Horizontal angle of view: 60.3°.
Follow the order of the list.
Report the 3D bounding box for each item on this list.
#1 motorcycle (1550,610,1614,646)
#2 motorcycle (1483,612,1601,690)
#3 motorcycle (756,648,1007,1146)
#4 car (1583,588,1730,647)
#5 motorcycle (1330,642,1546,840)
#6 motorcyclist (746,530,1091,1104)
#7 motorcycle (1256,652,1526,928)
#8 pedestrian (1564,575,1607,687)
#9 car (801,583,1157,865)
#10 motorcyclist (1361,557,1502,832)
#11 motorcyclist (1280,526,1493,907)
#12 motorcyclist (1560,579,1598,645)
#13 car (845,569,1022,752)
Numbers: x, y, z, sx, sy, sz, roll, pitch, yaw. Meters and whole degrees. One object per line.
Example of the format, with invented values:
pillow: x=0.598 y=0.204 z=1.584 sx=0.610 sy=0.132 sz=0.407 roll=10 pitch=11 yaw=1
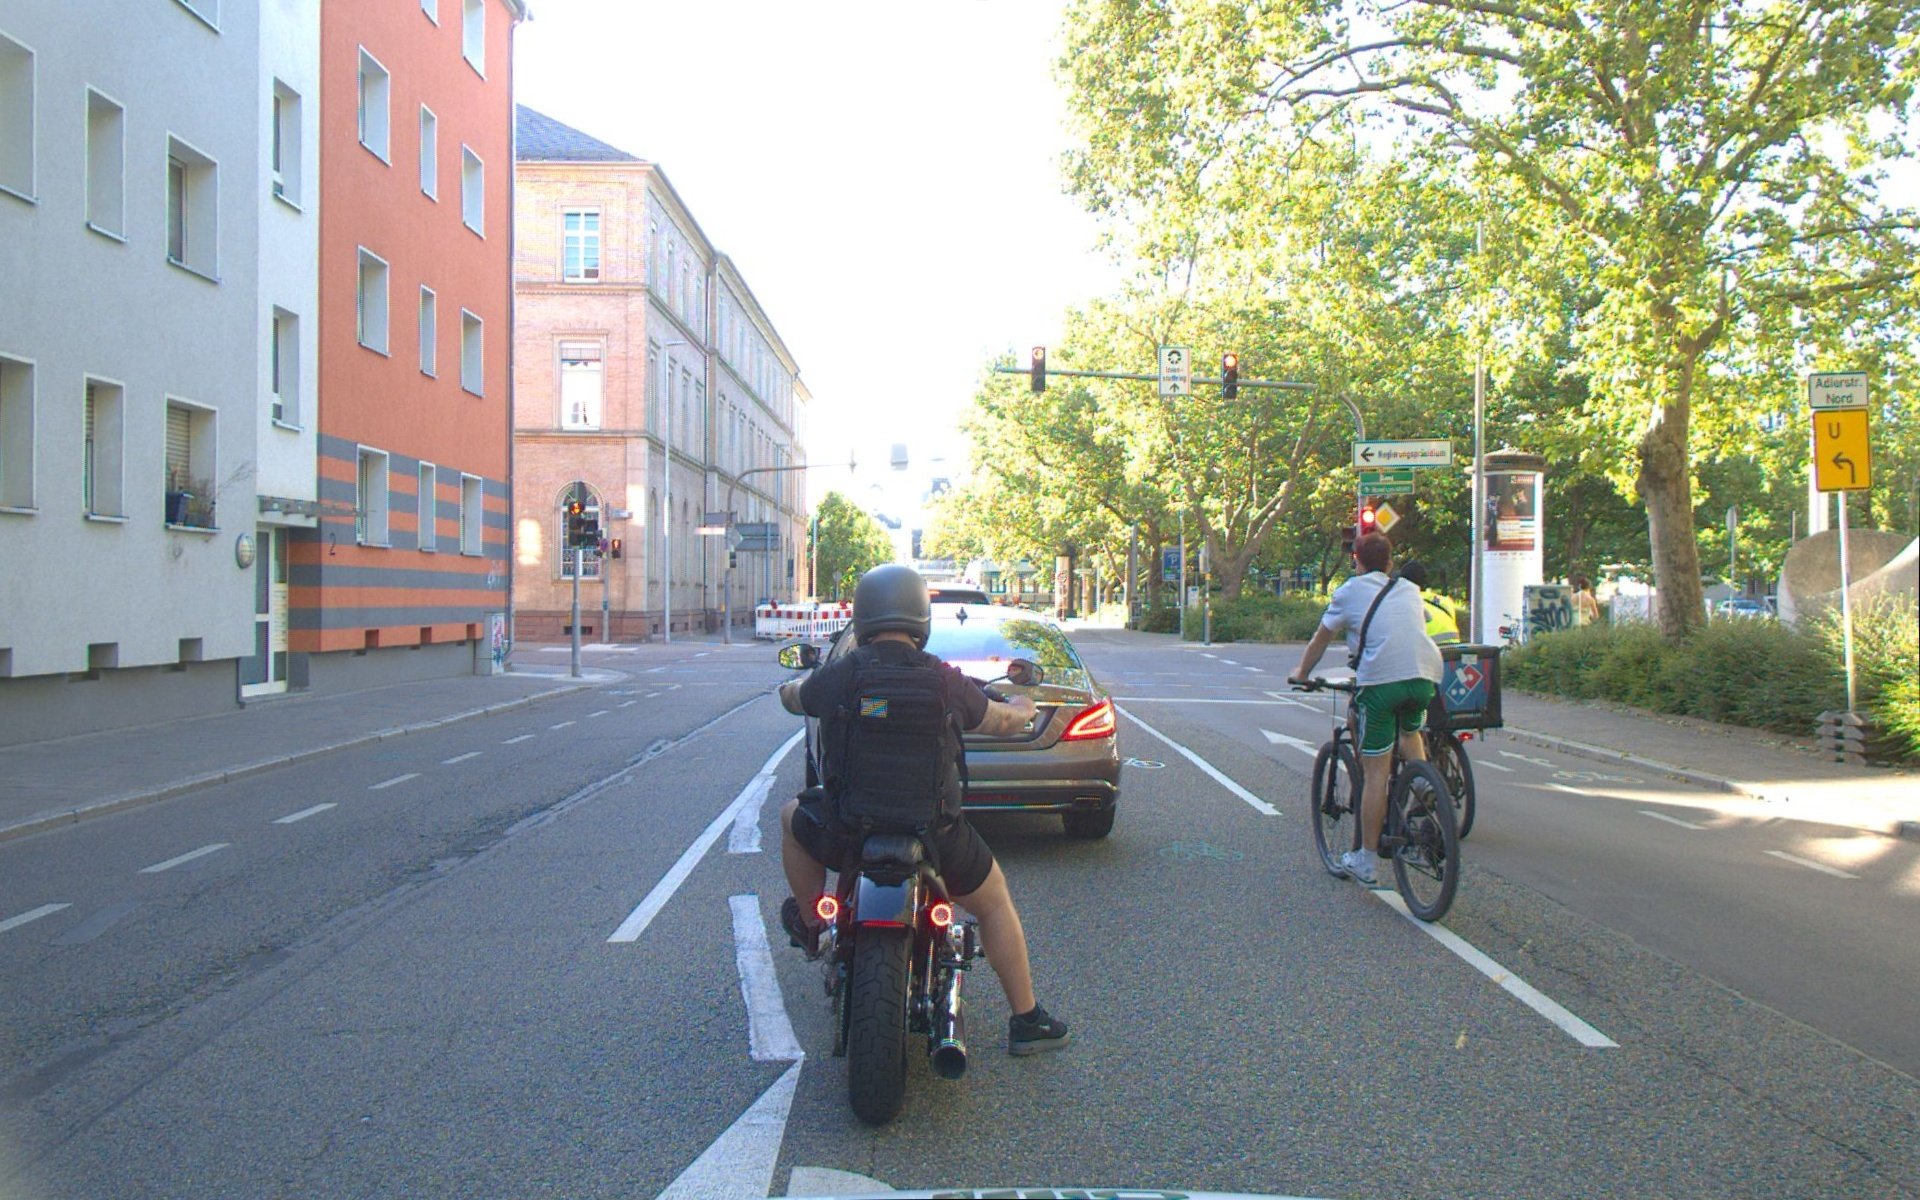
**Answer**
motorcycle: x=17.931 y=0.796 z=47.681 sx=1.683 sy=1.019 sz=0.416 roll=0 pitch=0 yaw=3
motorcycle: x=9.775 y=0.842 z=27.829 sx=1.743 sy=1.265 sz=0.723 roll=1 pitch=0 yaw=4
motorcycle: x=-0.222 y=0.820 z=5.423 sx=0.646 sy=1.261 sz=2.057 roll=1 pitch=0 yaw=-1
car: x=21.992 y=0.549 z=52.299 sx=3.907 sy=1.803 sz=1.737 roll=0 pitch=0 yaw=-3
motorcycle: x=3.180 y=0.894 z=11.251 sx=0.781 sy=1.151 sz=2.236 roll=1 pitch=0 yaw=-1
motorcyclist: x=-0.126 y=0.630 z=5.333 sx=0.970 sy=1.639 sz=1.120 roll=1 pitch=0 yaw=-1
motorcycle: x=2.130 y=0.894 z=8.474 sx=0.845 sy=1.189 sz=1.929 roll=1 pitch=0 yaw=-1
pedestrian: x=10.539 y=0.505 z=27.851 sx=0.634 sy=1.859 sz=0.667 roll=0 pitch=0 yaw=24
car: x=-0.088 y=0.685 z=11.133 sx=1.790 sy=1.512 sz=4.326 roll=1 pitch=0 yaw=-7
motorcyclist: x=3.155 y=0.614 z=11.126 sx=0.702 sy=1.773 sz=0.751 roll=1 pitch=-1 yaw=-1
motorcyclist: x=2.140 y=0.562 z=8.400 sx=0.814 sy=1.820 sz=0.913 roll=1 pitch=-1 yaw=-1
motorcyclist: x=17.851 y=0.349 z=47.696 sx=0.962 sy=1.909 sz=0.376 roll=0 pitch=-1 yaw=3
car: x=-0.273 y=0.575 z=17.424 sx=1.618 sy=1.681 sz=3.999 roll=1 pitch=0 yaw=-1
